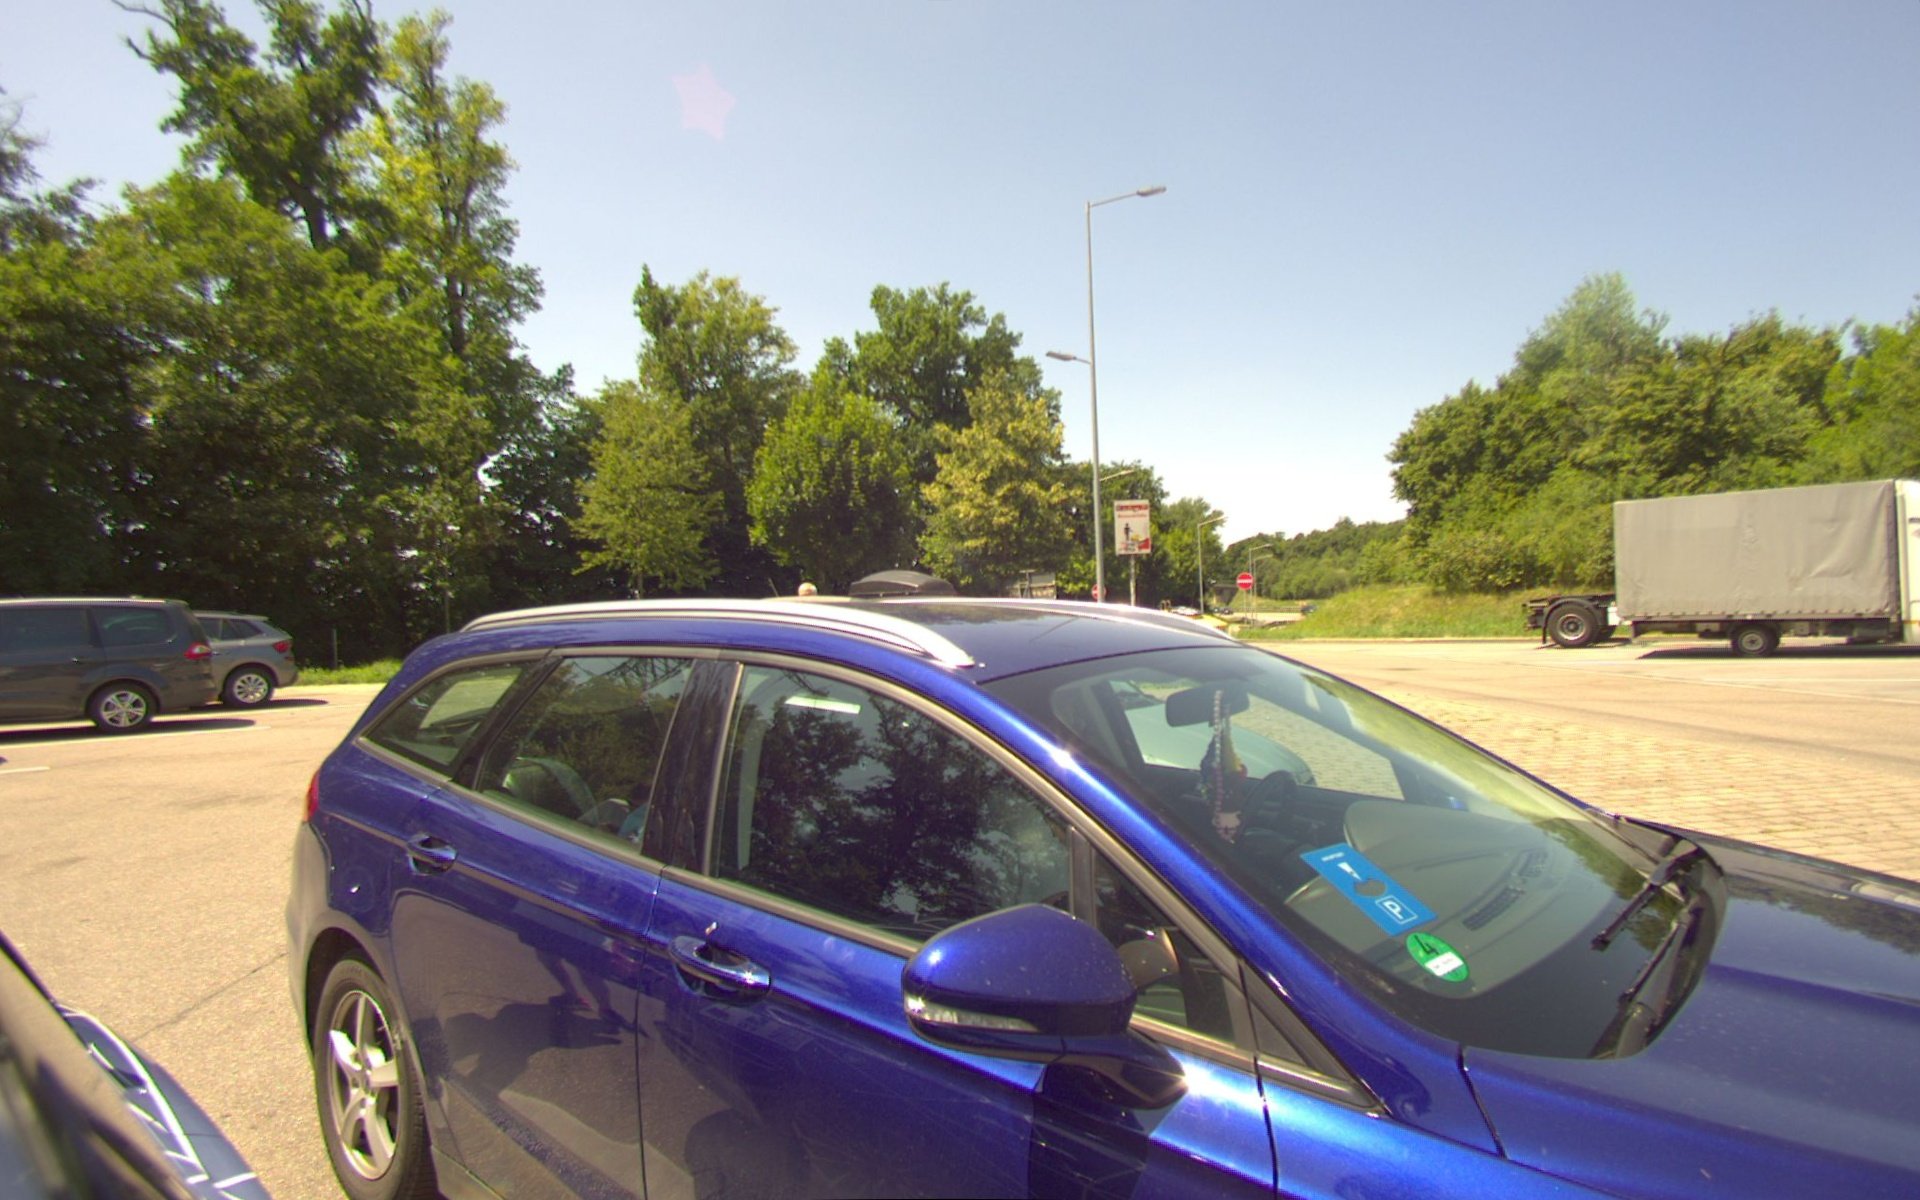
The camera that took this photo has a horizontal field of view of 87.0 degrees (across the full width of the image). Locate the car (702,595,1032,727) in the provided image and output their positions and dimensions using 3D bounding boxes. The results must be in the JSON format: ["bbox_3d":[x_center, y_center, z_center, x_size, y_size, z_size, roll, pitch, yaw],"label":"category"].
[{"bbox_3d":[-1.367,0.760,13.538,4.466,1.476,1.756,-3,-1,40],"label":"car"}]

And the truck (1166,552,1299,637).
[{"bbox_3d":[12.810,-0.222,47.615,5.782,3.720,1.987,-2,-1,20],"label":"truck"}]

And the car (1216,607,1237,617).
[{"bbox_3d":[50.670,2.339,192.348,2.003,1.874,4.011,-1,-1,-16],"label":"car"}]

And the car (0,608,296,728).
[{"bbox_3d":[-12.719,0.974,15.611,3.910,1.598,1.782,-1,-1,-43],"label":"car"}]

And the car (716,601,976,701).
[{"bbox_3d":[-2.020,0.832,17.091,4.466,1.476,1.756,-3,-1,40],"label":"car"}]

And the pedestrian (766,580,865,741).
[{"bbox_3d":[-1.523,0.612,10.642,0.758,1.614,0.663,-2,-1,39],"label":"pedestrian"}]

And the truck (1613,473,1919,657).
[{"bbox_3d":[16.748,-0.595,18.860,7.347,3.152,2.339,-3,-2,41],"label":"truck"}]

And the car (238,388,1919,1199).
[{"bbox_3d":[0.235,0.632,2.106,4.466,1.476,1.756,-3,-1,40],"label":"car"}]

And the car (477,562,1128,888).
[{"bbox_3d":[-1.294,0.635,6.713,4.466,1.476,1.756,-3,-1,40],"label":"car"}]

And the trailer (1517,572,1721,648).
[{"bbox_3d":[15.778,0.279,24.337,3.900,1.674,1.456,-2,-1,41],"label":"trailer"}]

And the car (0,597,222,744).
[{"bbox_3d":[-11.689,0.849,12.560,3.910,1.701,1.782,-1,-1,-43],"label":"car"}]

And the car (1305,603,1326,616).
[{"bbox_3d":[54.054,1.458,153.779,2.012,1.874,3.994,-1,-1,4],"label":"car"}]
